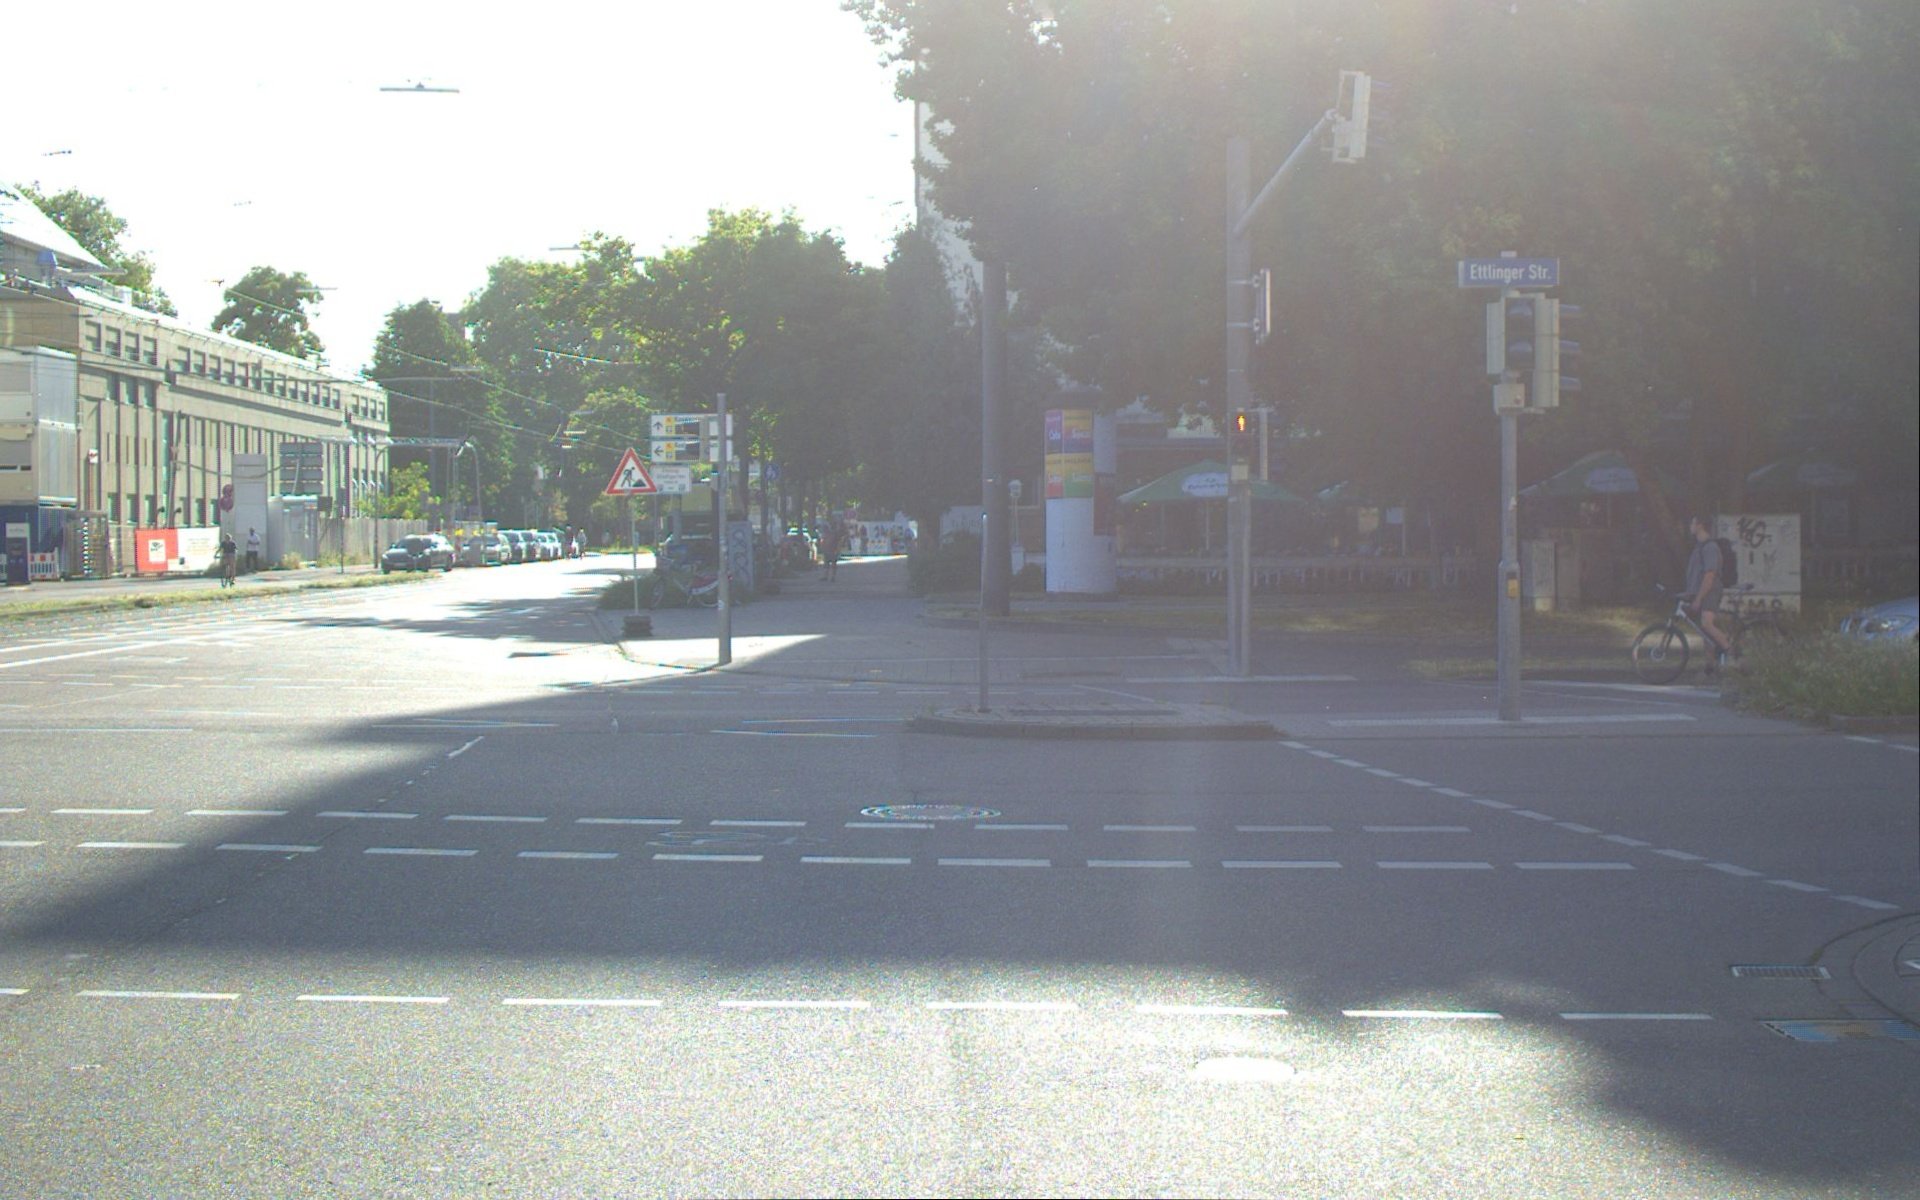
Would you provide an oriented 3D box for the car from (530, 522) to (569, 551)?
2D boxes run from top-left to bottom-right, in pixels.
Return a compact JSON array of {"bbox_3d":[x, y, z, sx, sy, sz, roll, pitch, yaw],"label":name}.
[{"bbox_3d":[-23.242,-3.600,194.683,1.993,1.638,4.001,-1,1,-4],"label":"car"}]

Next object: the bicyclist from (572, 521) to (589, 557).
[{"bbox_3d":[-20.158,-3.231,182.557,0.750,1.913,1.215,1,0,-2],"label":"bicyclist"}]

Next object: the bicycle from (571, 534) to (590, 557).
[{"bbox_3d":[-20.164,-2.869,182.680,0.750,1.201,3.108,1,1,-2],"label":"bicycle"}]

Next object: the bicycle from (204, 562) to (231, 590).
[{"bbox_3d":[-22.522,-0.727,104.290,0.494,0.836,1.156,-1,1,2],"label":"bicycle"}]

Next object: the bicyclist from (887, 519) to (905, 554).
[{"bbox_3d":[-3.681,-3.642,198.510,0.890,2.007,0.749,1,0,-12],"label":"bicyclist"}]

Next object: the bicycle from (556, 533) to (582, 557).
[{"bbox_3d":[-20.245,-2.851,178.002,0.751,1.201,3.107,1,1,5],"label":"bicycle"}]

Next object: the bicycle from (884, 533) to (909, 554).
[{"bbox_3d":[-3.676,-3.246,198.455,0.890,1.215,2.794,1,1,-12],"label":"bicycle"}]

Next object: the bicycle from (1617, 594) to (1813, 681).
[{"bbox_3d":[7.971,0.387,36.370,1.944,0.886,0.718,1,0,6],"label":"bicycle"}]

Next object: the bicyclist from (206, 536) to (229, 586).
[{"bbox_3d":[-22.525,-1.179,104.315,0.494,1.493,0.666,-1,1,2],"label":"bicyclist"}]

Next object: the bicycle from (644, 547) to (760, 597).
[{"bbox_3d":[-5.044,-0.554,67.216,2.244,0.937,0.654,-1,1,-5],"label":"bicycle"}]

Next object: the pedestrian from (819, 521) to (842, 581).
[{"bbox_3d":[-3.682,-1.395,97.651,0.576,1.683,0.585,-1,1,-8],"label":"pedestrian"}]

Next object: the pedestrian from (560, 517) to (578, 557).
[{"bbox_3d":[-20.251,-3.276,178.065,0.751,2.056,1.050,1,0,5],"label":"pedestrian"}]

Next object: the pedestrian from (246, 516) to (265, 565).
[{"bbox_3d":[-26.947,-2.276,131.466,0.588,1.883,0.478,1,0,-1],"label":"pedestrian"}]

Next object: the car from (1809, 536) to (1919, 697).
[{"bbox_3d":[10.835,0.174,33.563,4.576,1.511,2.000,1,0,0],"label":"car"}]

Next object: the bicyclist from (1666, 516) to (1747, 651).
[{"bbox_3d":[7.890,-0.176,36.369,0.747,1.401,0.702,1,0,6],"label":"bicyclist"}]

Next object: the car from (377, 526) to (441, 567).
[{"bbox_3d":[-22.181,-2.170,138.493,1.993,1.593,4.000,-1,1,-1],"label":"car"}]
